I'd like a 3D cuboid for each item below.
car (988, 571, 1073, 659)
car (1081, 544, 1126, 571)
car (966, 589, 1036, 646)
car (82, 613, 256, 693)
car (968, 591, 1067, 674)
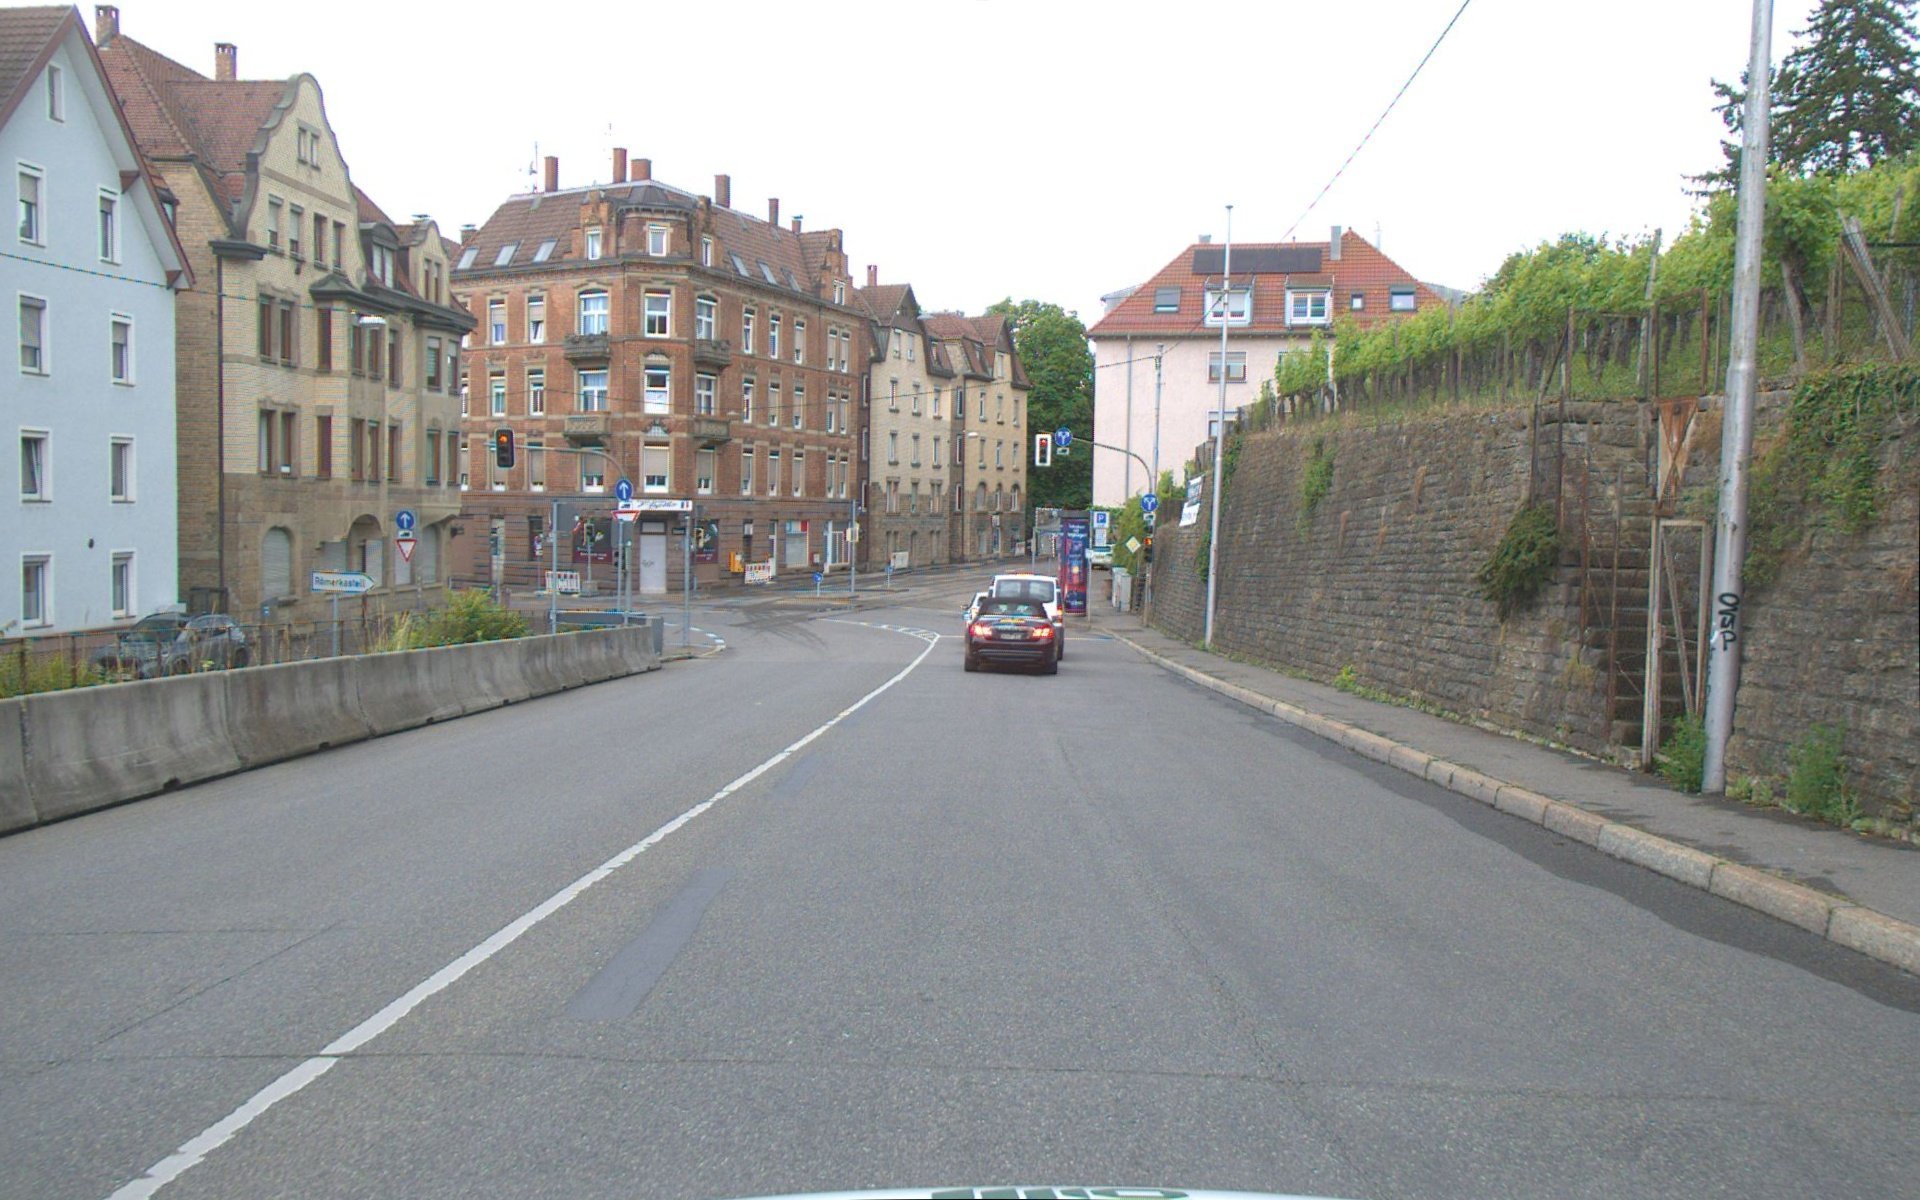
[{"bbox_3d":[1.616,0.319,39.152,1.870,1.917,4.000,2,0,1],"label":"car"},{"bbox_3d":[9.475,-2.809,108.849,1.804,1.732,4.000,1,2,23],"label":"car"},{"bbox_3d":[1.127,0.458,46.063,1.803,1.466,4.000,2,0,1],"label":"car"},{"bbox_3d":[-17.800,1.151,37.421,1.756,1.536,4.003,-1,2,4],"label":"car"},{"bbox_3d":[1.085,0.598,32.272,1.779,1.455,4.000,2,0,1],"label":"car"}]
